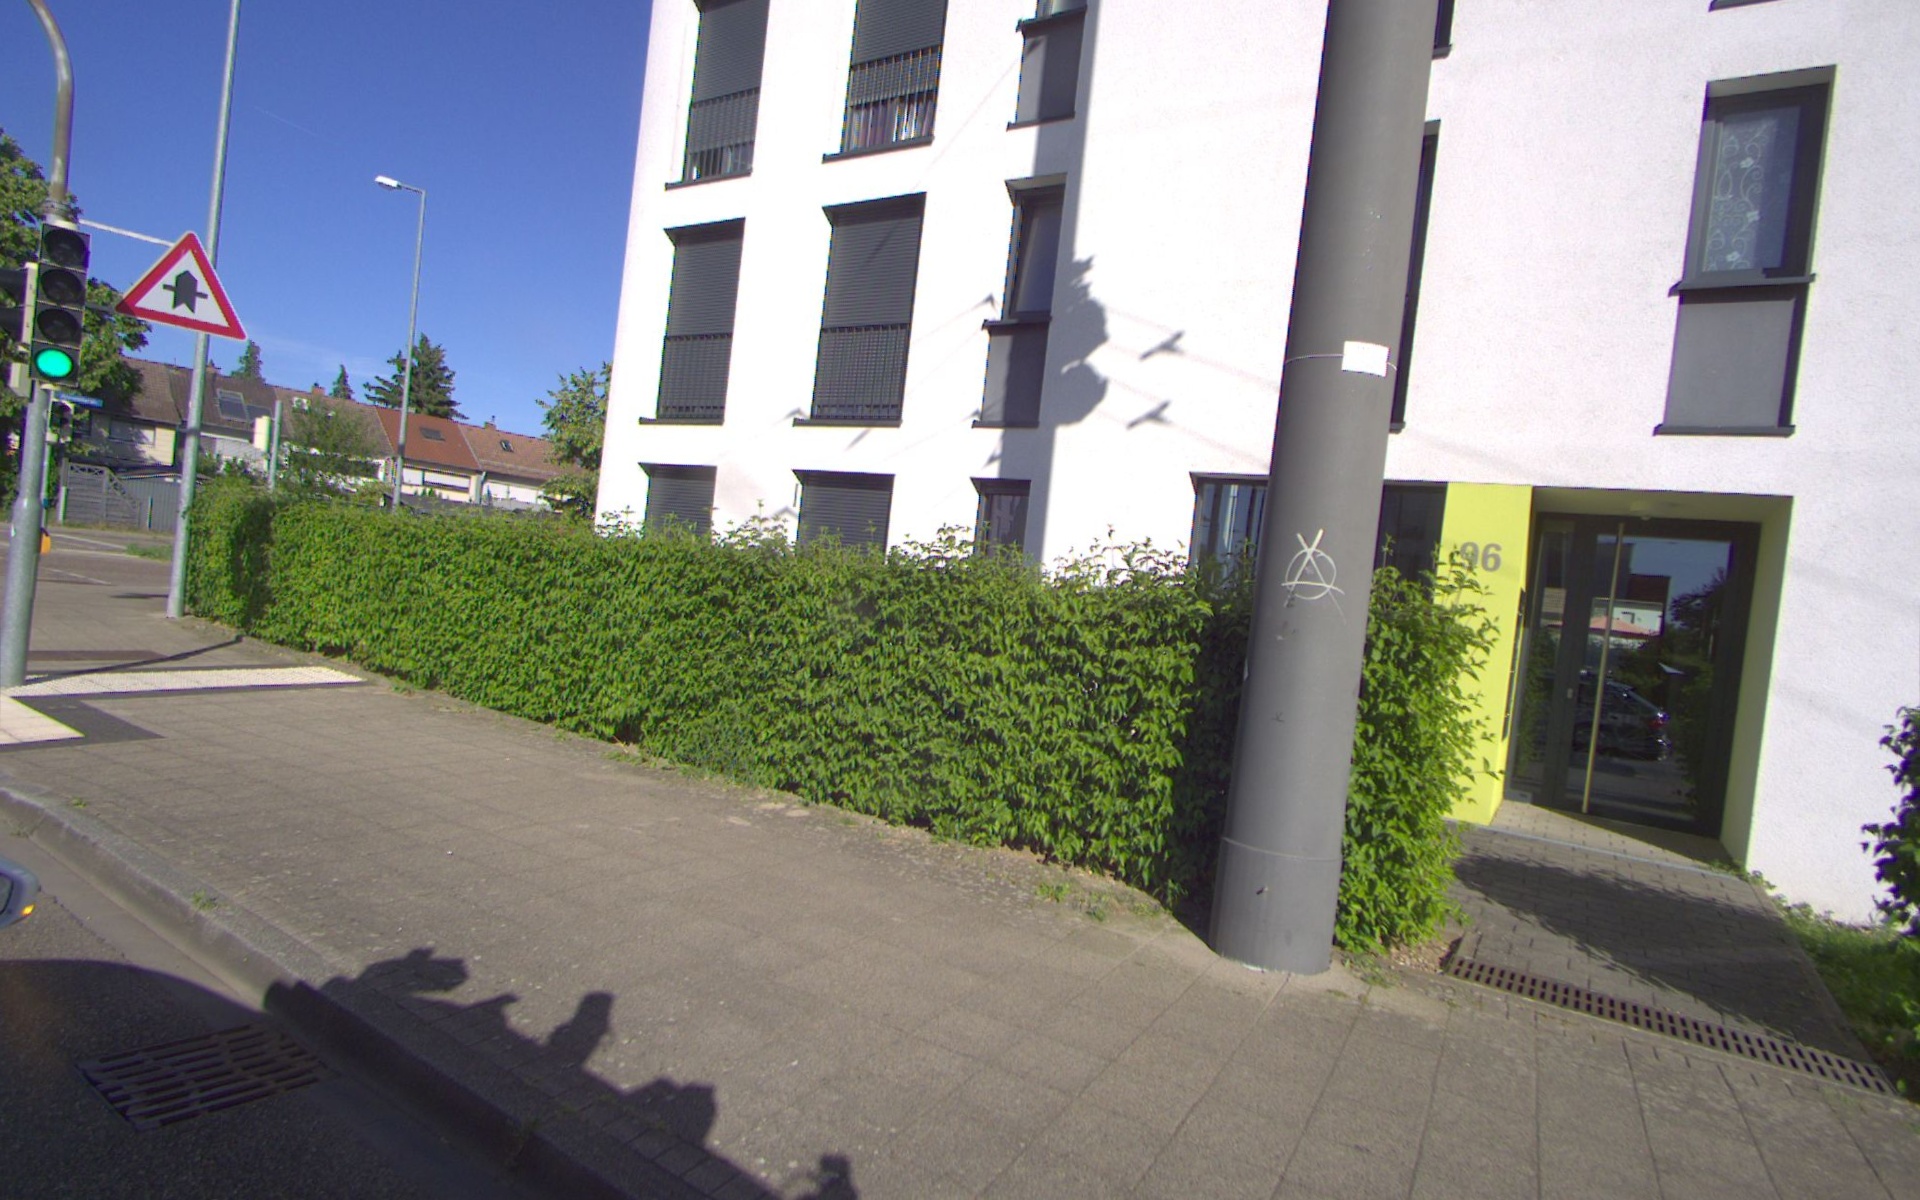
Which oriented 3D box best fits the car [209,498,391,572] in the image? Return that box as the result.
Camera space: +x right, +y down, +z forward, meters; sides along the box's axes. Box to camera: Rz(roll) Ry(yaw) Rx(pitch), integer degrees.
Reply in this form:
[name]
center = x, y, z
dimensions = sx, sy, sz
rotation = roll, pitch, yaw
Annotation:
[car]
center = -20.007, -1.936, 30.627
dimensions = 1.917, 1.608, 4.165
rotation = 8, 1, 38
